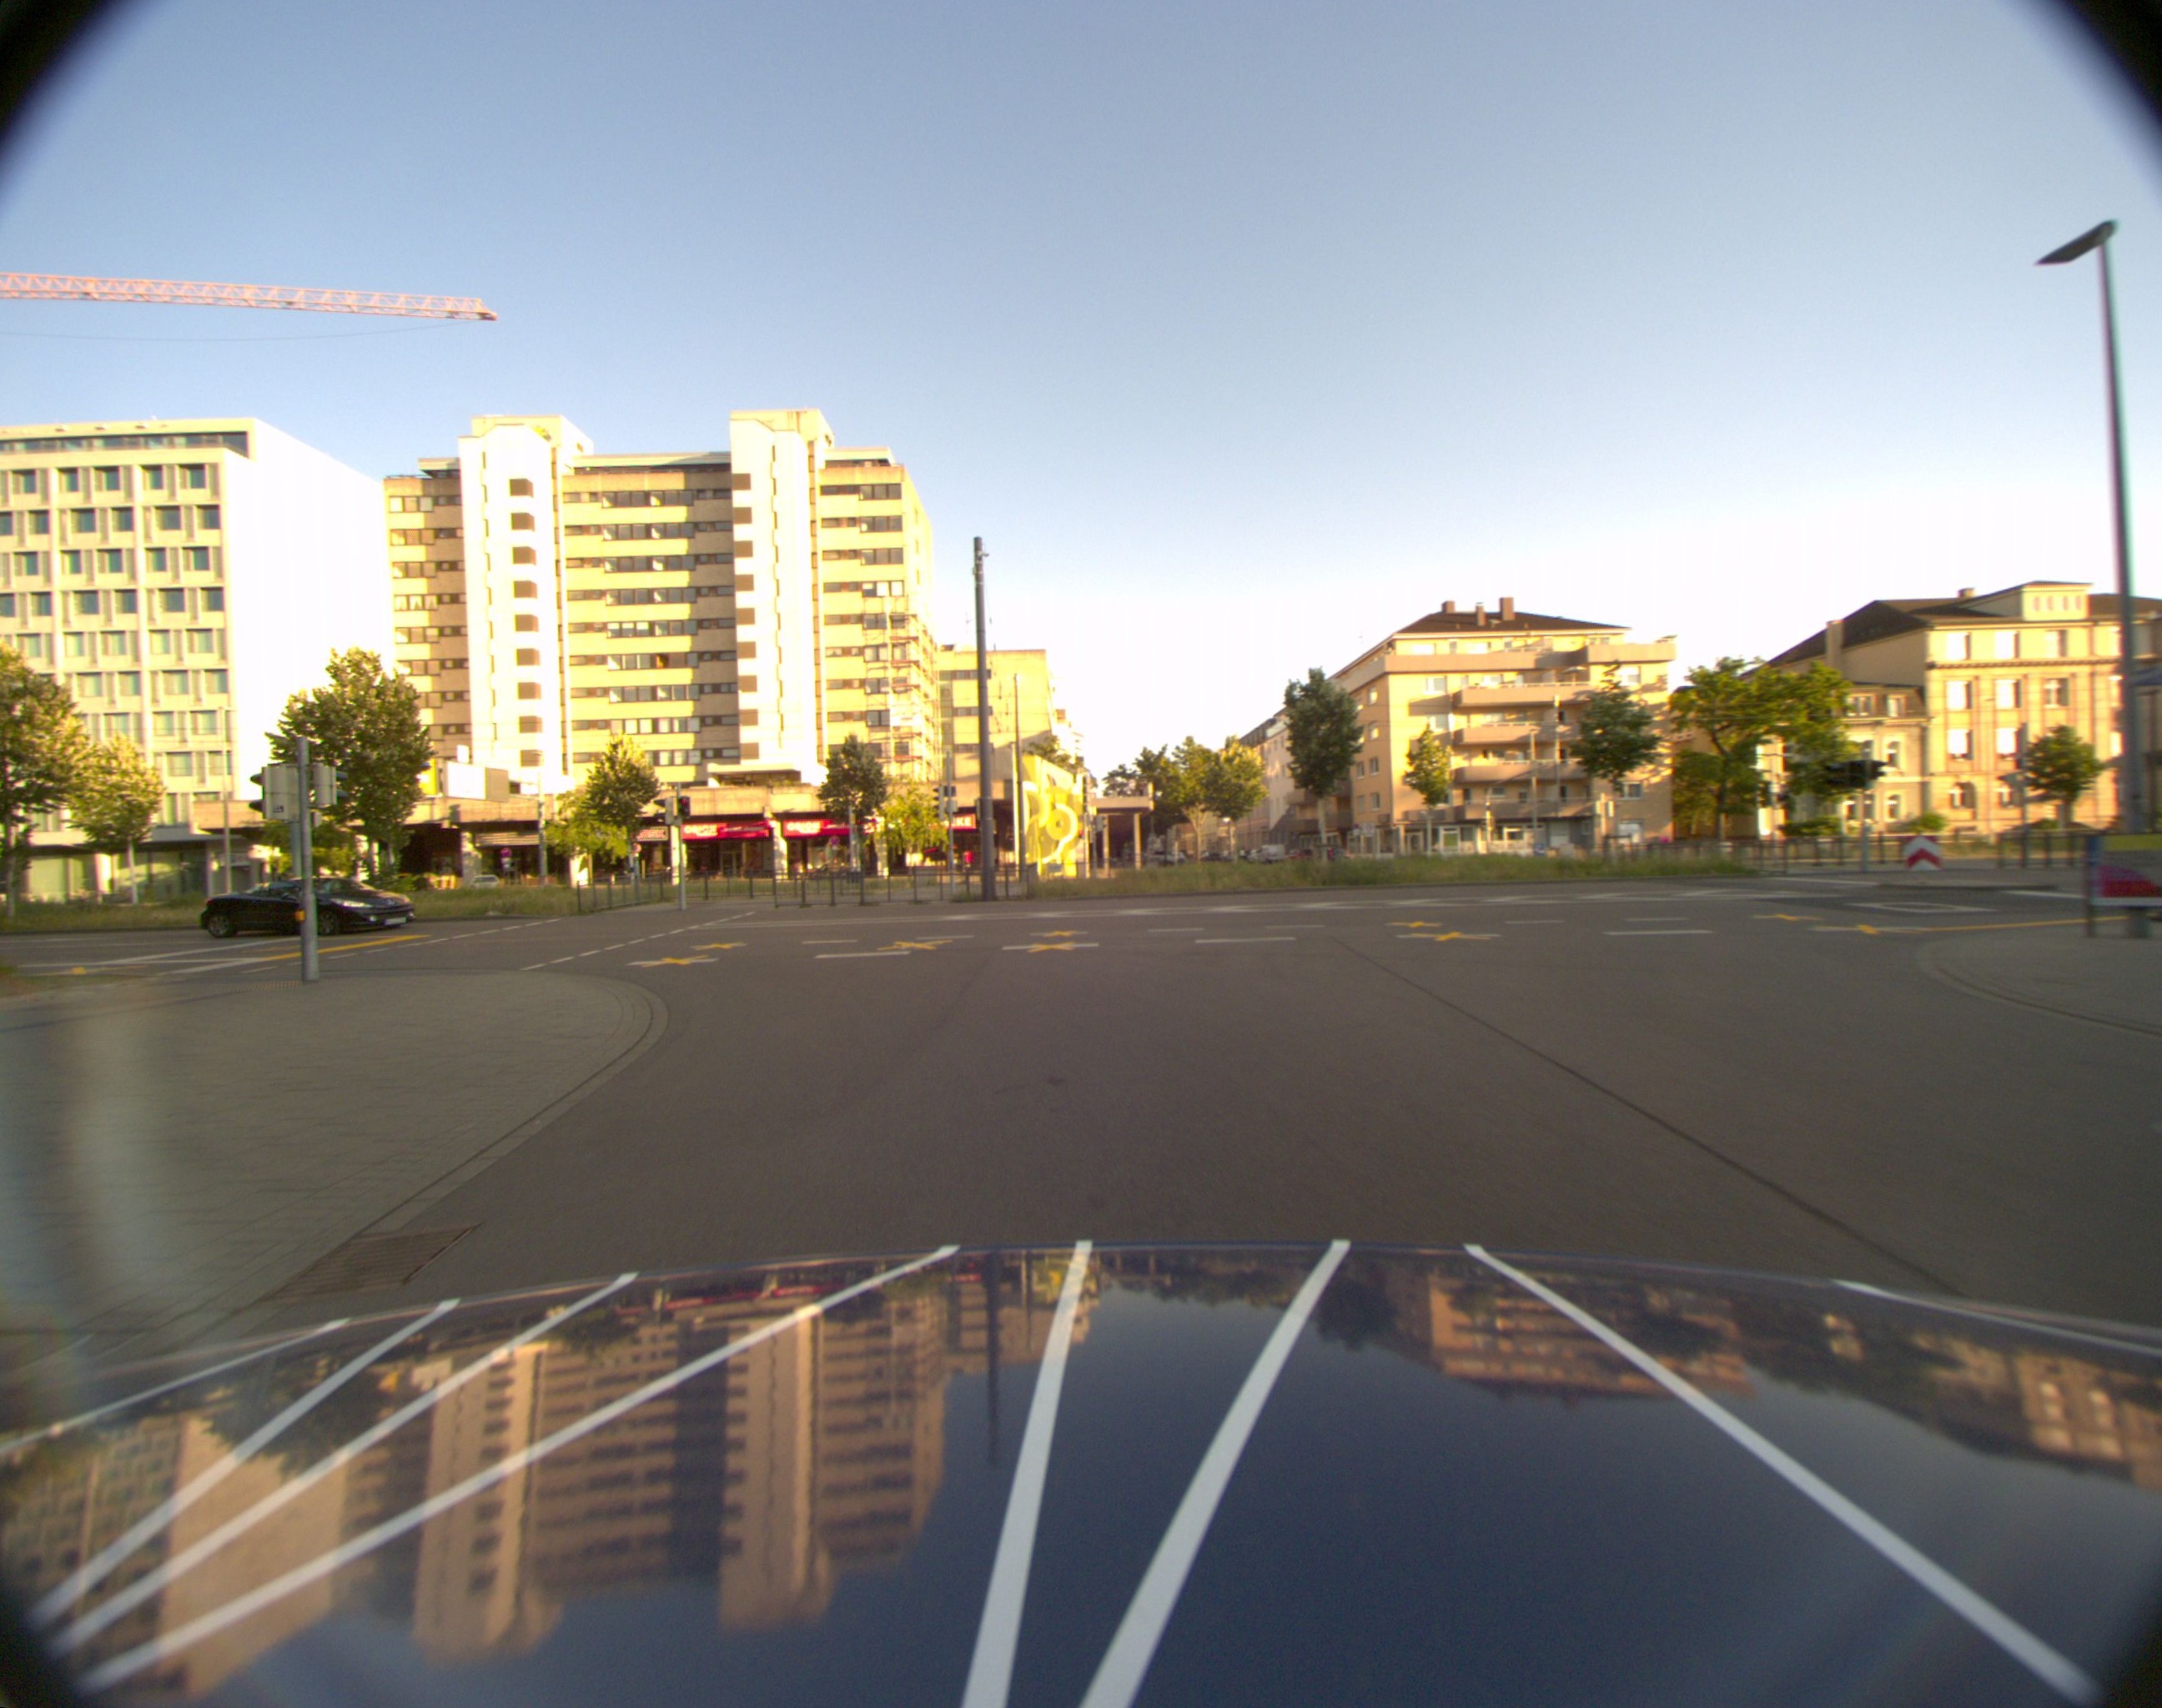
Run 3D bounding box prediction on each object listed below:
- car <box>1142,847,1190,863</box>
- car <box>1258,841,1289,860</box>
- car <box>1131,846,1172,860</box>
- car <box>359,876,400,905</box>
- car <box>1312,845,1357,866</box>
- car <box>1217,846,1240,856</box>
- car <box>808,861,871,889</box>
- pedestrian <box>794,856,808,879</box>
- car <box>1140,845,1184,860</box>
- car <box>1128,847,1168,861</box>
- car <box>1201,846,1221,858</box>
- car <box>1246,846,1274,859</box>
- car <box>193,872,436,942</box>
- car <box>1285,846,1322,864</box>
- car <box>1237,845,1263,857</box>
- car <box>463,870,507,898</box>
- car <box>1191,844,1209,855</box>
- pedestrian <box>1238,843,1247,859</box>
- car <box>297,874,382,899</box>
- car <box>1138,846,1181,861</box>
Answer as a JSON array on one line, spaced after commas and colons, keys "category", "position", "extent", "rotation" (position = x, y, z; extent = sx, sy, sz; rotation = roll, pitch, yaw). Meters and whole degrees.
[{"category": "car", "position": [8.793, 0.096, 78.758], "extent": [4.641, 1.390, 2.000], "rotation": [-2, 1, -1]}, {"category": "car", "position": [19.112, -0.334, 75.651], "extent": [1.999, 1.740, 3.999], "rotation": [-2, 1, -2]}, {"category": "car", "position": [8.380, -0.137, 90.183], "extent": [4.641, 1.551, 2.000], "rotation": [-2, 1, -1]}, {"category": "car", "position": [-43.177, 2.215, 46.759], "extent": [1.726, 1.552, 4.319], "rotation": [-3, 1, -43]}, {"category": "car", "position": [19.536, 0.080, 58.768], "extent": [1.999, 1.477, 3.999], "rotation": [-2, 1, -2]}, {"category": "car", "position": [18.559, -0.408, 95.833], "extent": [1.999, 1.237, 3.999], "rotation": [-2, 1, -2]}, {"category": "car", "position": [-14.889, 1.273, 46.794], "extent": [1.965, 1.552, 4.333], "rotation": [-3, 1, -43]}, {"category": "pedestrian", "position": [-19.485, 0.941, 52.835], "extent": [0.726, 1.604, 0.656], "rotation": [-2, 1, -6]}, {"category": "car", "position": [8.902, -0.173, 83.942], "extent": [4.641, 1.551, 2.000], "rotation": [-2, 1, -1]}, {"category": "car", "position": [8.207, -0.051, 93.454], "extent": [4.641, 1.551, 2.000], "rotation": [-2, 1, -1]}, {"category": "car", "position": [18.169, -0.271, 106.452], "extent": [1.999, 1.521, 3.999], "rotation": [-2, 1, -2]}, {"category": "car", "position": [19.175, -0.191, 81.589], "extent": [1.999, 1.237, 3.999], "rotation": [-2, 1, -2]}, {"category": "car", "position": [-18.190, 1.228, 18.175], "extent": [3.906, 1.380, 1.800], "rotation": [-2, 1, -1]}, {"category": "car", "position": [19.628, 0.047, 67.141], "extent": [1.999, 1.477, 3.999], "rotation": [-2, 1, -2]}, {"category": "car", "position": [19.113, -0.389, 86.199], "extent": [1.999, 1.237, 3.999], "rotation": [-2, 1, -2]}, {"category": "car", "position": [-36.881, 1.836, 46.991], "extent": [1.726, 1.552, 4.319], "rotation": [-3, 1, -43]}, {"category": "car", "position": [17.904, -0.669, 114.219], "extent": [1.999, 1.521, 3.999], "rotation": [-2, 1, -2]}, {"category": "pedestrian", "position": [20.672, -0.370, 97.211], "extent": [0.891, 2.002, 0.770], "rotation": [-2, 1, -2]}, {"category": "car", "position": [-53.719, 2.330, 55.182], "extent": [1.721, 1.552, 4.331], "rotation": [-2, 1, 4]}, {"category": "car", "position": [8.869, -0.058, 86.235], "extent": [4.641, 1.551, 2.000], "rotation": [-2, 1, -1]}]
